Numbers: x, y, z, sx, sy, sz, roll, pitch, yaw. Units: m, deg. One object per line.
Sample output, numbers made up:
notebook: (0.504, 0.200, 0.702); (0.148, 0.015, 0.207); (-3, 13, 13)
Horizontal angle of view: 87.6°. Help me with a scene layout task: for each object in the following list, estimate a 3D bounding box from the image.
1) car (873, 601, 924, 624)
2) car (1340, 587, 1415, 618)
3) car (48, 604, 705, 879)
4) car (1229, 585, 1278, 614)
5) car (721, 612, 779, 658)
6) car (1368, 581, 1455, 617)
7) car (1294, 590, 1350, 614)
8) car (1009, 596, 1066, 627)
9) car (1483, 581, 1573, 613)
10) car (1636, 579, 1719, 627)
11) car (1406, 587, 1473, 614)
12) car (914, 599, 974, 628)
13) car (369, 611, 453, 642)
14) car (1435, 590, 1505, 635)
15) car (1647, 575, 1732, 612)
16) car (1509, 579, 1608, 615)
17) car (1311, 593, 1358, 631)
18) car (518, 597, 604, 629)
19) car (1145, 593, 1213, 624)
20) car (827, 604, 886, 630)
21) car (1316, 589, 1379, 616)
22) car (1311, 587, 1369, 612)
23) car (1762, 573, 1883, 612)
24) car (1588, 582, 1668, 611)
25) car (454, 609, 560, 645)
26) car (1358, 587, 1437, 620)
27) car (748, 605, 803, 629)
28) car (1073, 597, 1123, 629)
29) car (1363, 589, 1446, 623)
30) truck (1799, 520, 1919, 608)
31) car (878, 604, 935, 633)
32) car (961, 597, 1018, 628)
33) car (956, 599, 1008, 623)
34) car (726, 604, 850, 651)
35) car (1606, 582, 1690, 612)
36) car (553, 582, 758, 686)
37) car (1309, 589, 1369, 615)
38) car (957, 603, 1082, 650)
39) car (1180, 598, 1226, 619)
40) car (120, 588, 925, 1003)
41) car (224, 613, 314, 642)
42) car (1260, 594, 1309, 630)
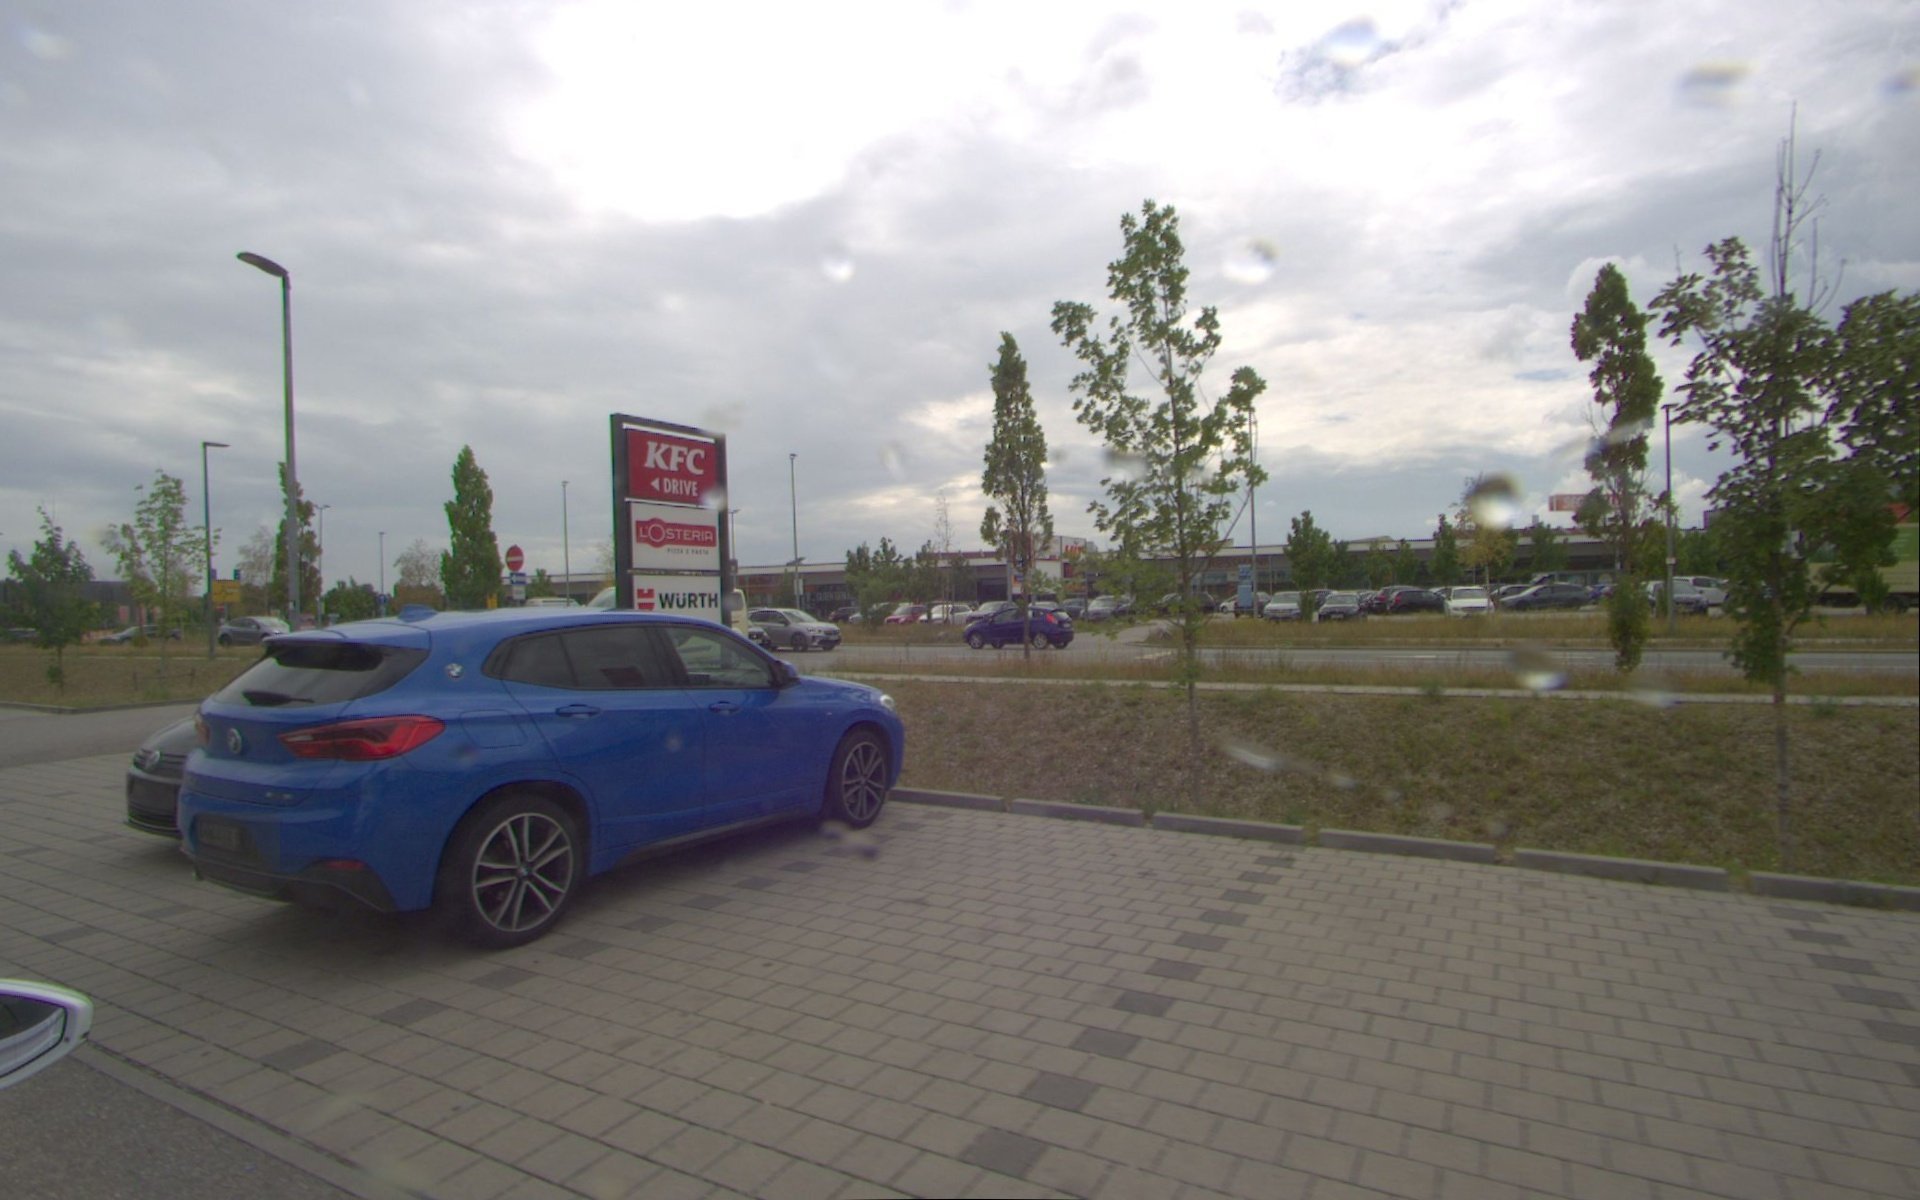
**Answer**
car: (-5.445, 1.104, 89.075); (4.110, 1.863, 1.997); (-1, 1, 16)
car: (26.420, 0.162, 63.500); (4.109, 1.863, 1.997); (-1, 1, 15)
car: (-4.115, 0.802, 7.769); (1.750, 1.479, 4.052); (0, 1, 32)
car: (17.437, -0.041, 59.386); (1.970, 1.560, 4.140); (-1, 1, 29)
car: (-6.629, 1.067, 31.473); (1.440, 1.354, 3.156); (-1, 0, -18)
car: (25.116, -0.061, 55.793); (4.109, 1.863, 1.997); (-1, 1, 15)
car: (29.878, 0.129, 82.738); (4.109, 1.863, 1.997); (-1, 1, 15)
car: (4.295, 0.610, 54.954); (1.966, 1.560, 4.043); (-1, 1, 22)
car: (34.066, -0.209, 60.164); (4.241, 1.796, 1.997); (-1, 1, 14)
car: (28.872, 0.087, 40.428); (1.900, 1.796, 4.306); (-1, 1, 24)
car: (35.017, 0.014, 73.280); (4.109, 1.863, 1.997); (-1, 1, 15)
car: (-0.879, 0.745, 58.338); (1.835, 1.521, 4.058); (-1, 1, 25)
car: (-28.951, 1.417, 52.778); (4.356, 1.506, 1.920); (-1, 1, 31)
car: (22.161, 0.507, 43.673); (1.964, 1.796, 4.313); (-1, 1, 17)
car: (38.611, -0.346, 52.997); (3.936, 1.796, 1.992); (-2, 1, -25)
car: (32.767, -0.175, 54.935); (4.240, 1.796, 1.998); (-1, 1, 12)
car: (17.329, 0.522, 46.264); (1.743, 1.560, 4.040); (-1, 1, 24)
car: (-29.074, 0.914, 73.176); (2.306, 2.150, 5.568); (-1, 1, 30)
car: (13.851, 0.538, 63.294); (4.109, 1.863, 1.997); (-1, 1, 15)
car: (-8.069, 1.318, 78.200); (4.109, 1.863, 1.997); (-1, 1, 15)
car: (28.689, 0.190, 74.288); (4.109, 1.863, 1.997); (-1, 1, 15)
car: (30.236, -0.066, 79.793); (4.109, 1.863, 1.997); (-1, 1, 15)
car: (42.602, -0.374, 49.551); (4.063, 1.796, 1.998); (-2, 1, 9)
car: (45.953, -0.258, 68.974); (4.109, 1.863, 1.997); (-1, 1, 15)
car: (-18.718, 1.109, 41.392); (4.152, 1.413, 1.762); (-1, 0, 26)
car: (26.511, 0.193, 60.771); (4.109, 1.863, 1.997); (-1, 1, 15)
car: (-15.703, 1.459, 85.325); (4.108, 1.863, 1.998); (-1, 1, 12)
car: (7.354, 0.678, 53.053); (1.742, 1.560, 3.753); (-1, 1, 22)
car: (25.808, 0.324, 58.266); (4.109, 1.863, 1.997); (-1, 1, 15)
truck: (37.026, -1.368, 37.399); (2.995, 3.239, 8.360); (-3, 1, -40)
car: (-3.152, 1.086, 59.757); (1.875, 1.560, 4.043); (-1, 1, 22)
car: (1.705, 0.670, 56.307); (1.966, 1.560, 4.043); (-1, 1, 22)
car: (1.882, 0.936, 85.320); (4.109, 1.863, 1.997); (-1, 1, 15)
car: (-5.928, 0.950, 34.433); (3.942, 1.479, 1.820); (-1, 1, 32)
car: (45.418, -0.204, 66.201); (4.109, 1.863, 1.997); (-1, 1, 14)
car: (-6.806, 0.692, 23.138); (1.964, 2.114, 5.222); (0, 0, 17)
car: (29.308, 0.132, 77.559); (4.109, 1.863, 1.997); (-1, 1, 15)
car: (2.006, 0.892, 33.962); (3.861, 1.479, 1.653); (-1, 1, 30)
car: (22.819, 0.795, 94.082); (4.109, 1.863, 1.997); (-1, 1, 15)
car: (-2.111, 0.768, 6.059); (1.837, 1.564, 4.195); (-1, -1, 30)
car: (-35.052, 1.394, 50.780); (4.486, 1.413, 1.762); (-1, 0, 26)
car: (15.500, 0.558, 47.731); (1.743, 1.560, 4.040); (-1, 1, 24)
